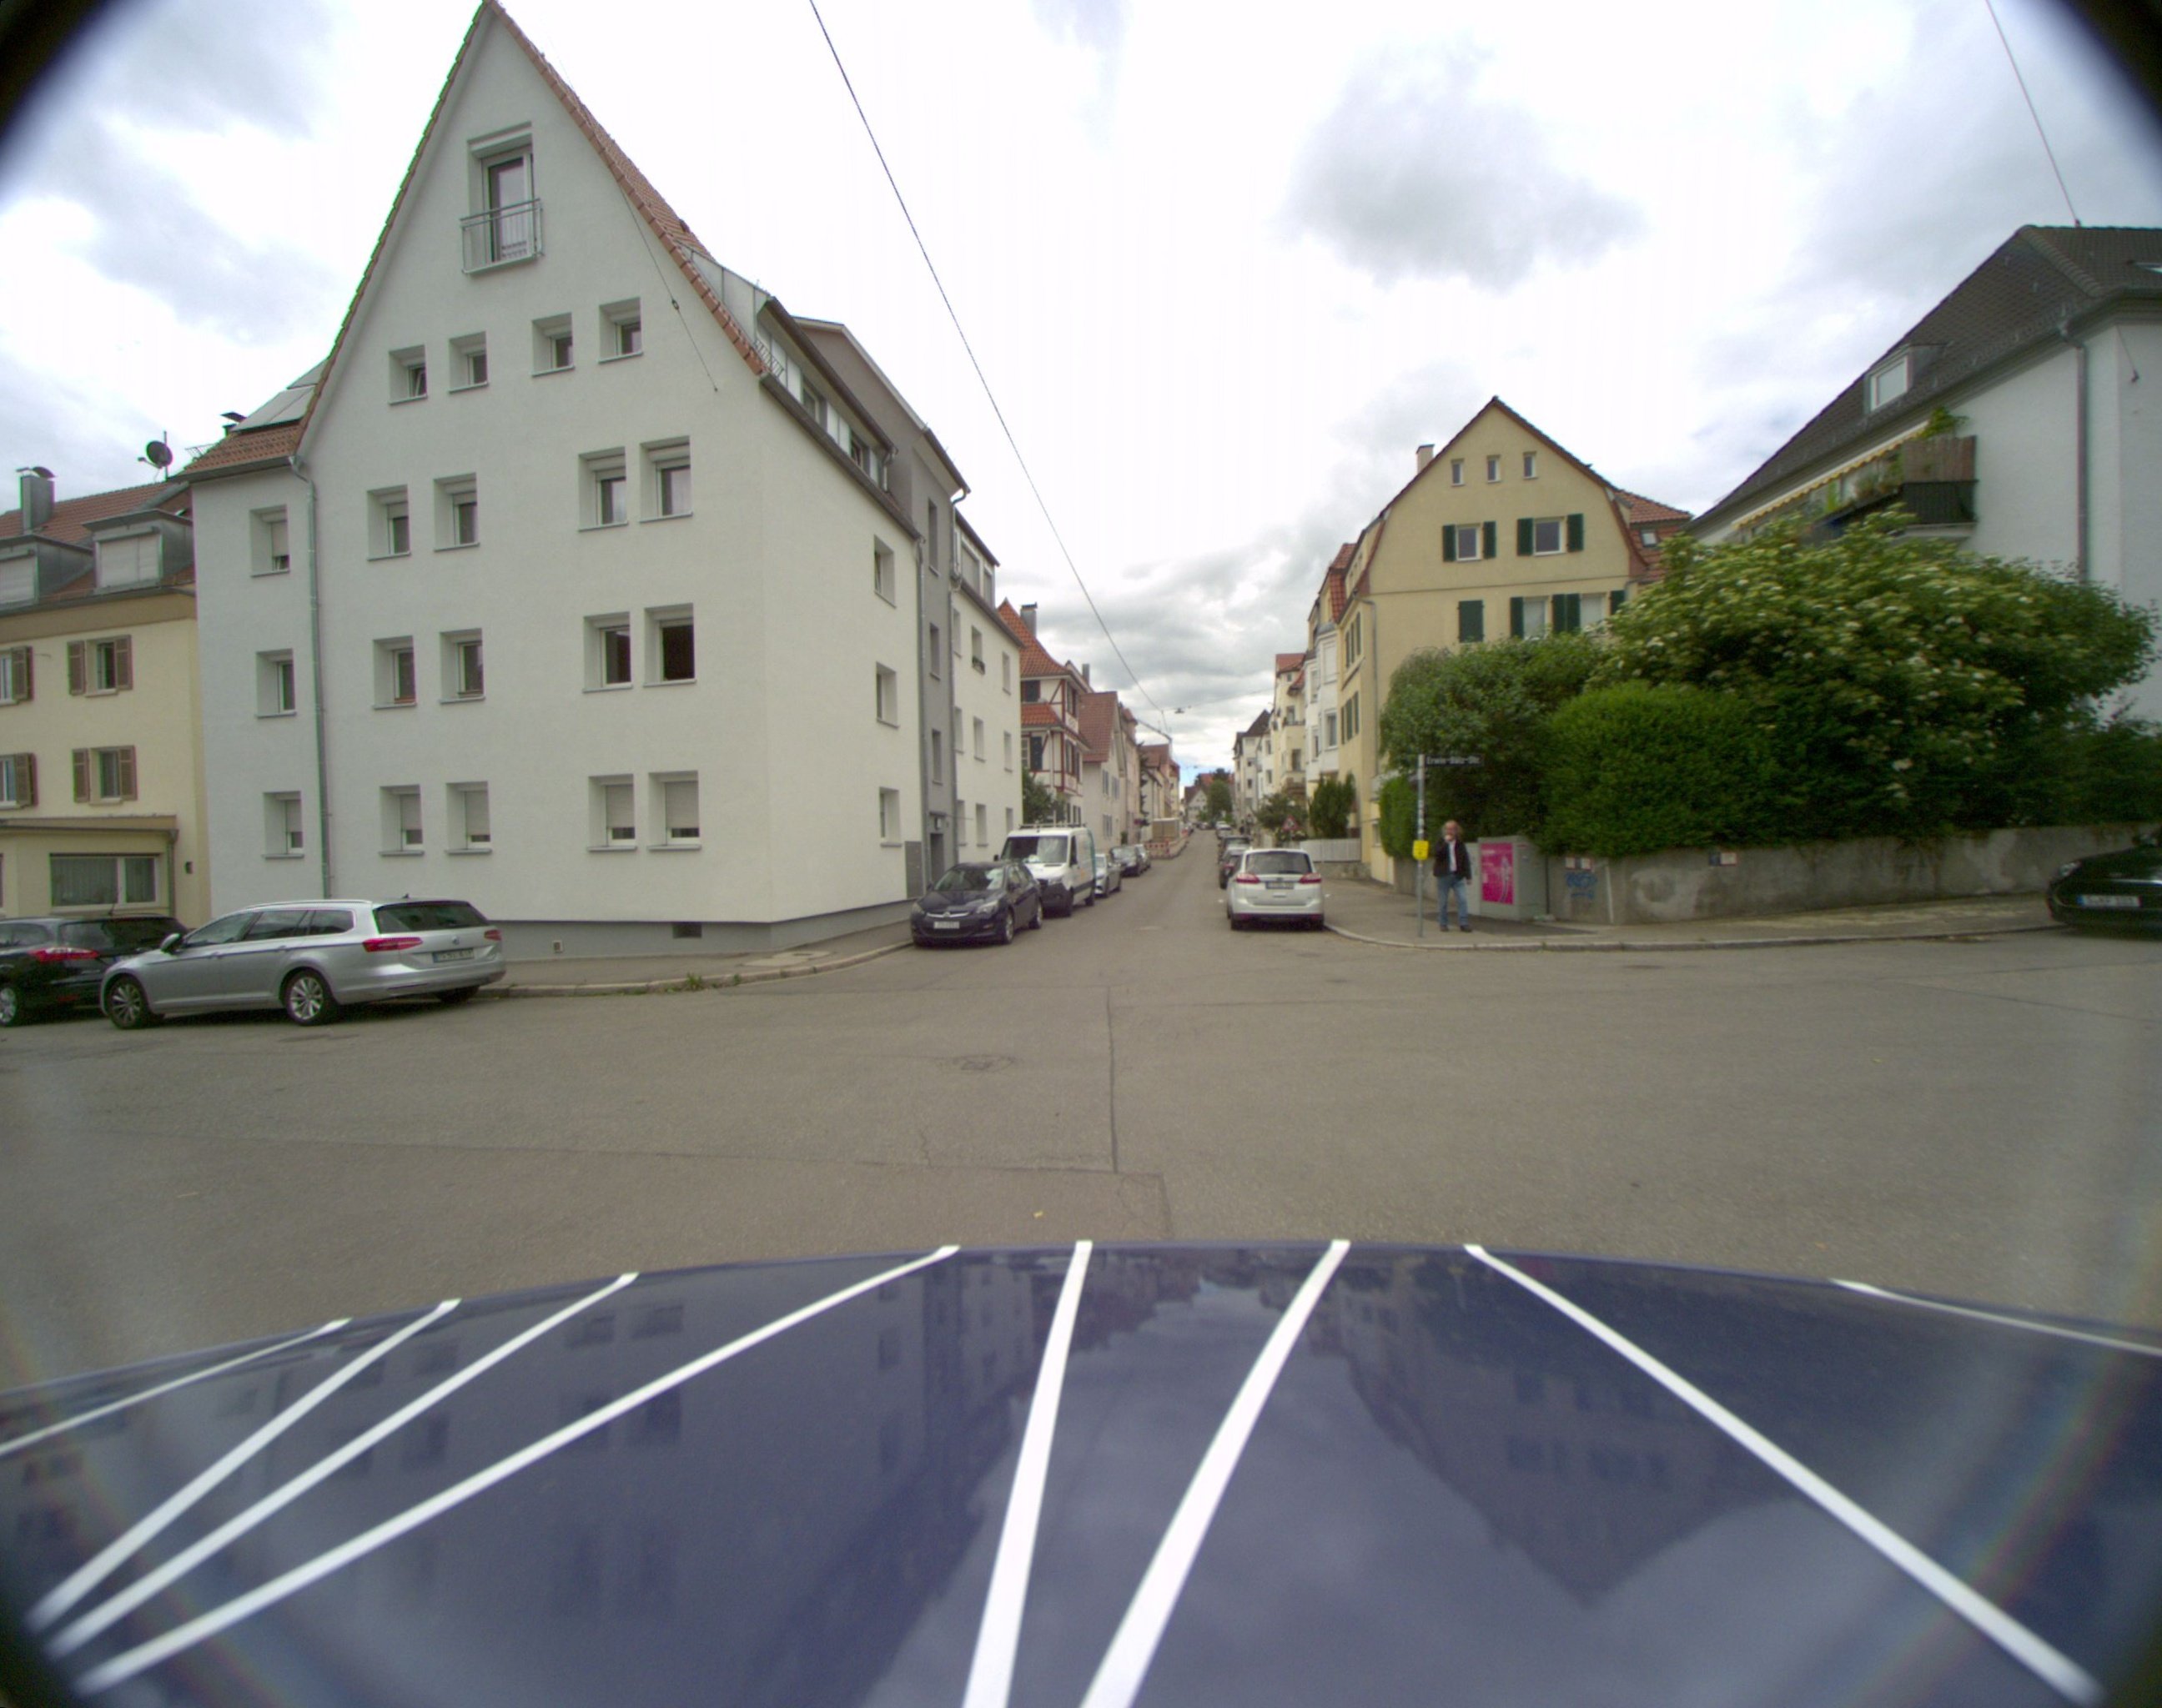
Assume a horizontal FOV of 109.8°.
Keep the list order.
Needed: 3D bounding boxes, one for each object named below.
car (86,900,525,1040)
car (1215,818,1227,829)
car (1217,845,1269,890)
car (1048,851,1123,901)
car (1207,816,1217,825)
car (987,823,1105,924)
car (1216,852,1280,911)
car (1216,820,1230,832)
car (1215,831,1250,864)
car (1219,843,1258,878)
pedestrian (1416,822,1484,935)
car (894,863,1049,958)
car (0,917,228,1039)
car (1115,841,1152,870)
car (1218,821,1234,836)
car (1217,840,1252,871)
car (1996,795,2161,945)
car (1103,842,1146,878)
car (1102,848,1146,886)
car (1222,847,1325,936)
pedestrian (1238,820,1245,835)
[{"bbox_3d":[-9.745,1.435,9.672,4.352,1.441,1.765,-3,-1,11],"label":"car"},{"bbox_3d":[22.126,-4.841,119.814,1.781,1.558,4.001,-1,4,11],"label":"car"},{"bbox_3d":[6.282,0.474,29.816,1.805,1.472,4.330,-1,2,10],"label":"car"},{"bbox_3d":[0.269,0.721,26.901,1.827,1.437,4.385,-2,2,11],"label":"car"},{"bbox_3d":[25.351,-6.555,146.782,1.781,1.558,4.001,-2,3,11],"label":"car"},{"bbox_3d":[-0.775,0.394,20.847,1.997,2.409,5.295,-1,2,11],"label":"car"},{"bbox_3d":[4.730,0.723,21.883,1.609,1.445,3.615,1,2,10],"label":"car"},{"bbox_3d":[19.763,-3.867,105.631,1.781,1.558,4.001,-1,4,11],"label":"car"},{"bbox_3d":[8.870,-0.439,44.794,1.752,1.787,4.149,0,3,7],"label":"car"},{"bbox_3d":[7.231,0.259,35.170,1.641,1.421,4.124,0,3,9],"label":"car"},{"bbox_3d":[6.037,0.389,12.465,0.643,1.749,0.823,-3,0,2],"label":"pedestrian"},{"bbox_3d":[-1.957,0.993,14.992,1.822,1.477,4.289,-2,1,8],"label":"car"},{"bbox_3d":[-14.950,1.766,11.019,3.993,1.413,1.740,-3,0,14],"label":"car"},{"bbox_3d":[2.993,0.043,42.233,1.628,1.385,4.237,-3,2,9],"label":"car"},{"bbox_3d":[16.790,-2.928,87.941,1.661,1.558,4.001,-1,4,11],"label":"car"},{"bbox_3d":[7.976,0.049,39.799,1.641,1.391,3.704,1,3,9],"label":"car"},{"bbox_3d":[12.957,0.040,8.257,3.716,1.514,1.788,-5,0,1],"label":"car"},{"bbox_3d":[2.199,0.255,37.576,1.608,1.481,4.024,-2,2,10],"label":"car"},{"bbox_3d":[2.172,0.598,37.756,1.780,1.710,4.002,-2,0,8],"label":"car"},{"bbox_3d":[3.990,0.700,16.351,1.807,1.649,4.154,-1,0,10],"label":"car"},{"bbox_3d":[17.081,-2.827,80.946,0.616,1.647,0.812,-3,2,11],"label":"pedestrian"}]
